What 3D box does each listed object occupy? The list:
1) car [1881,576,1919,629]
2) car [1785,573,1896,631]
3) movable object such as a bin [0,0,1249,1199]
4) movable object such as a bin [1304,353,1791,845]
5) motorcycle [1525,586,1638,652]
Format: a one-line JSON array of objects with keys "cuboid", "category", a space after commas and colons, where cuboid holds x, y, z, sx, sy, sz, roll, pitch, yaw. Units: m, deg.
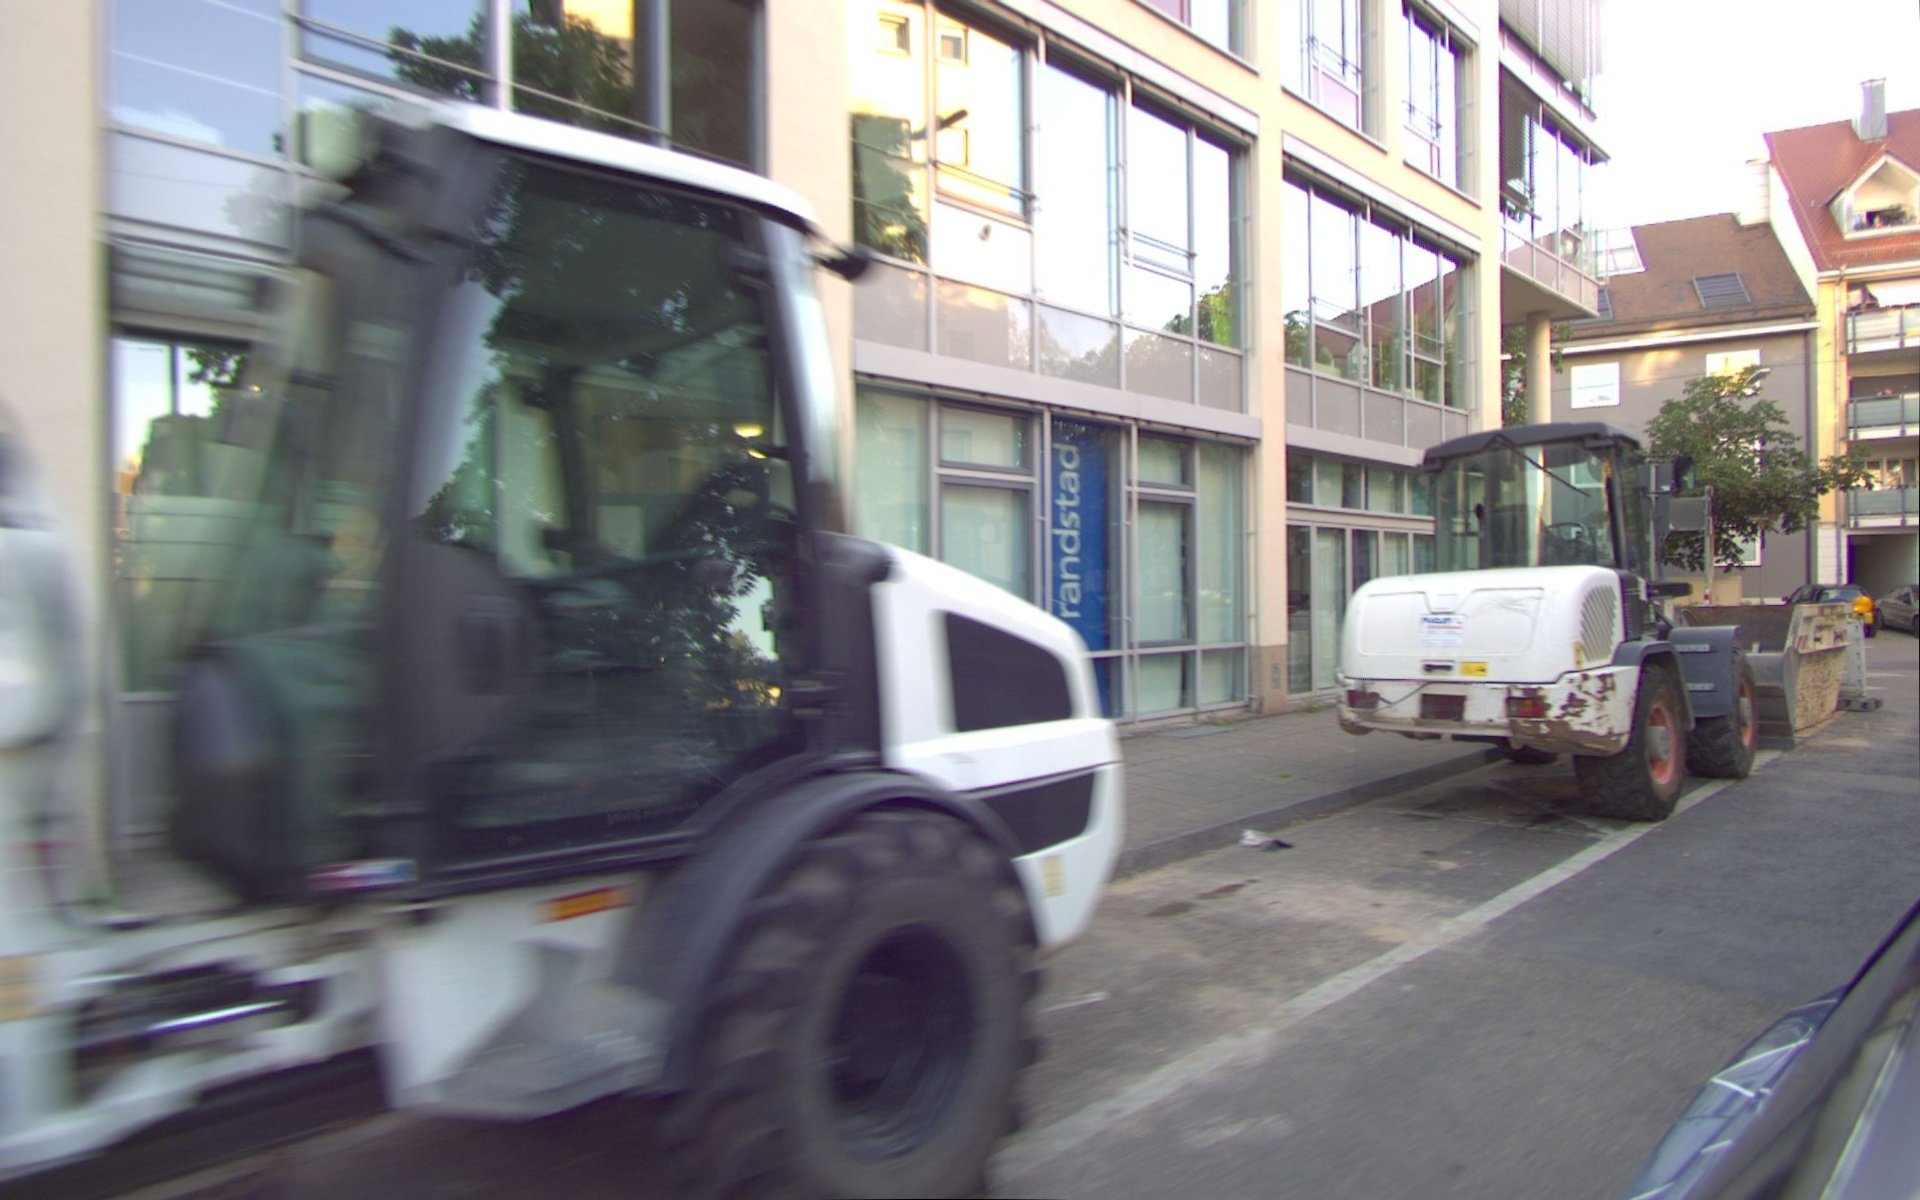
[{"cuboid": [28.597, 0.072, 29.157, 1.853, 1.527, 4.256, 0, 0, 25], "category": "car"}, {"cuboid": [26.116, 0.028, 30.144, 1.729, 1.544, 3.331, 0, 2, 27], "category": "car"}, {"cuboid": [-1.925, 0.180, 1.970, 5.447, 2.629, 2.170, -1, 0, -41], "category": "movable object such as a bin"}, {"cuboid": [4.478, -0.043, 7.472, 4.037, 2.667, 1.800, -1, 0, -39], "category": "movable object such as a bin"}, {"cuboid": [14.400, 0.413, 23.540, 0.785, 1.459, 2.384, 0, 0, -13], "category": "motorcycle"}]
